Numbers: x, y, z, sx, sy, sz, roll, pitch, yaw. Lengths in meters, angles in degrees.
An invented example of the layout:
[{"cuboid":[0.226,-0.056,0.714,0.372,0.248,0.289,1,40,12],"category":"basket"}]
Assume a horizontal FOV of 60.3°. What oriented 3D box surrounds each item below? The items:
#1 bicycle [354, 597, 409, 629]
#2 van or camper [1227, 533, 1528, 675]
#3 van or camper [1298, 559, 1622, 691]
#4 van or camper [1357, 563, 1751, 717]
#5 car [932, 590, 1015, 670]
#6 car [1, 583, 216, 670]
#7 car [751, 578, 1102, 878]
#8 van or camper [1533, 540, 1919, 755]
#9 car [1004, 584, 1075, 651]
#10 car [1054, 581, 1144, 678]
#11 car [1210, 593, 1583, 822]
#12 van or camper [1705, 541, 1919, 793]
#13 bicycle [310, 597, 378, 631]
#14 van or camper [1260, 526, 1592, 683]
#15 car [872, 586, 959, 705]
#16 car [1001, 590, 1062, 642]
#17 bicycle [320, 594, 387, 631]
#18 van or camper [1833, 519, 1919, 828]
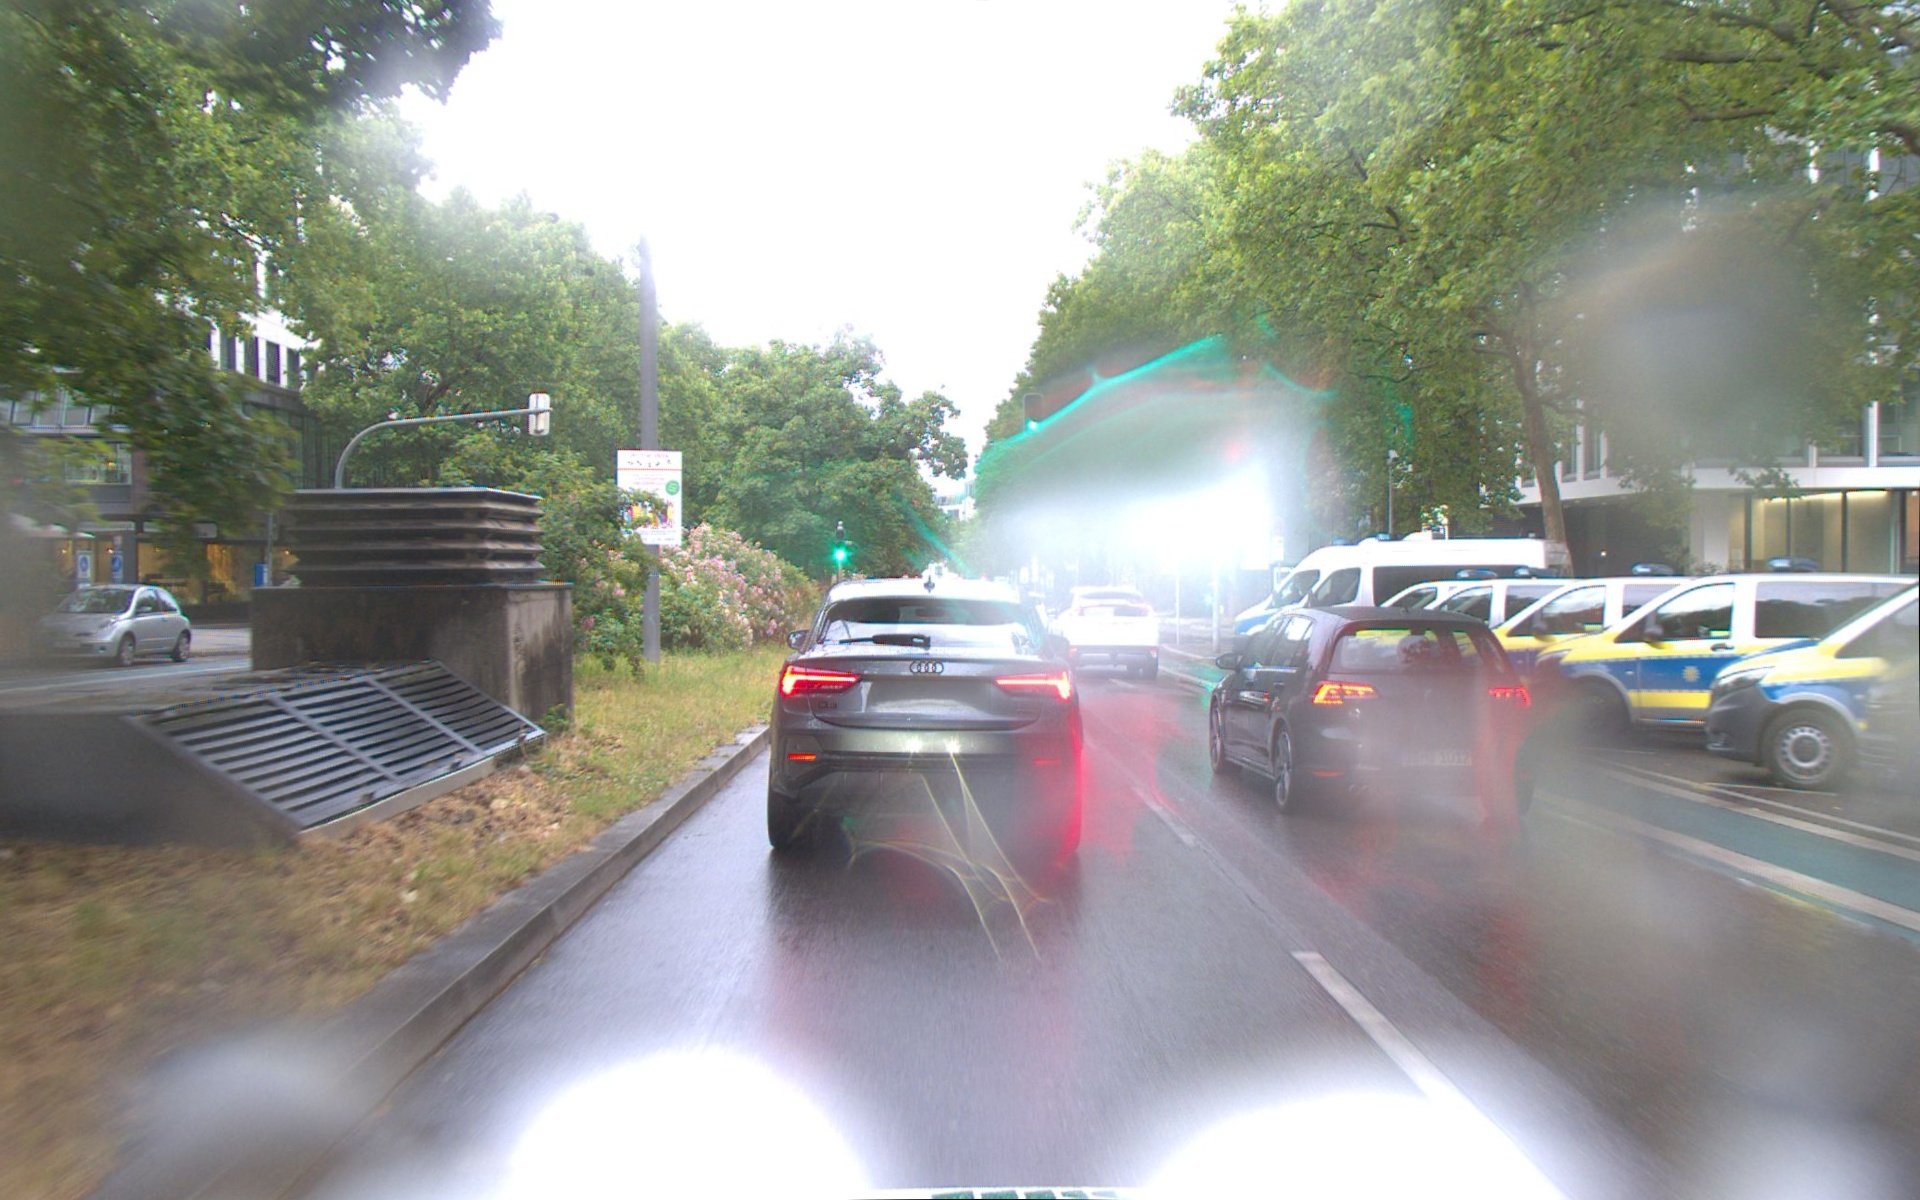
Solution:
[{"cuboid":[-18.296,0.414,52.316,1.587,0.979,0.508,0,0,-8],"category":"bicycle"},{"cuboid":[8.576,0.055,34.266,5.702,2.724,2.138,1,0,37],"category":"van or camper"},{"cuboid":[8.402,0.408,27.982,4.915,2.049,1.993,0,-1,35],"category":"van or camper"},{"cuboid":[8.647,0.512,24.277,5.102,2.027,1.994,1,0,34],"category":"van or camper"},{"cuboid":[0.248,0.605,35.961,1.686,1.605,3.961,0,1,-1],"category":"car"},{"cuboid":[-16.230,0.448,31.831,1.954,1.535,4.516,-1,1,-3],"category":"car"},{"cuboid":[-0.150,0.642,10.883,1.825,1.559,4.527,0,1,1],"category":"car"},{"cuboid":[8.886,0.438,17.444,5.008,2.060,2.097,1,1,37],"category":"van or camper"},{"cuboid":[2.191,0.457,46.602,1.785,1.780,4.000,0,1,0],"category":"car"},{"cuboid":[2.575,0.509,31.040,1.404,1.714,2.979,0,1,0],"category":"car"},{"cuboid":[3.120,0.682,12.665,1.729,1.437,3.999,0,1,-1],"category":"car"},{"cuboid":[8.960,0.537,13.671,4.917,2.030,1.995,0,0,32],"category":"van or camper"},{"cuboid":[-18.341,0.414,49.243,1.808,0.996,0.565,0,0,-4],"category":"bicycle"},{"cuboid":[8.690,0.067,31.122,5.693,2.727,1.993,0,0,35],"category":"van or camper"},{"cuboid":[-0.538,0.540,21.237,1.029,1.412,2.694,0,1,0],"category":"car"},{"cuboid":[2.510,0.543,58.948,1.953,1.780,4.000,0,1,0],"category":"car"},{"cuboid":[-18.360,0.380,50.126,1.810,1.117,0.613,0,0,-9],"category":"bicycle"},{"cuboid":[8.409,0.506,10.678,4.698,2.046,1.993,1,0,36],"category":"van or camper"}]
